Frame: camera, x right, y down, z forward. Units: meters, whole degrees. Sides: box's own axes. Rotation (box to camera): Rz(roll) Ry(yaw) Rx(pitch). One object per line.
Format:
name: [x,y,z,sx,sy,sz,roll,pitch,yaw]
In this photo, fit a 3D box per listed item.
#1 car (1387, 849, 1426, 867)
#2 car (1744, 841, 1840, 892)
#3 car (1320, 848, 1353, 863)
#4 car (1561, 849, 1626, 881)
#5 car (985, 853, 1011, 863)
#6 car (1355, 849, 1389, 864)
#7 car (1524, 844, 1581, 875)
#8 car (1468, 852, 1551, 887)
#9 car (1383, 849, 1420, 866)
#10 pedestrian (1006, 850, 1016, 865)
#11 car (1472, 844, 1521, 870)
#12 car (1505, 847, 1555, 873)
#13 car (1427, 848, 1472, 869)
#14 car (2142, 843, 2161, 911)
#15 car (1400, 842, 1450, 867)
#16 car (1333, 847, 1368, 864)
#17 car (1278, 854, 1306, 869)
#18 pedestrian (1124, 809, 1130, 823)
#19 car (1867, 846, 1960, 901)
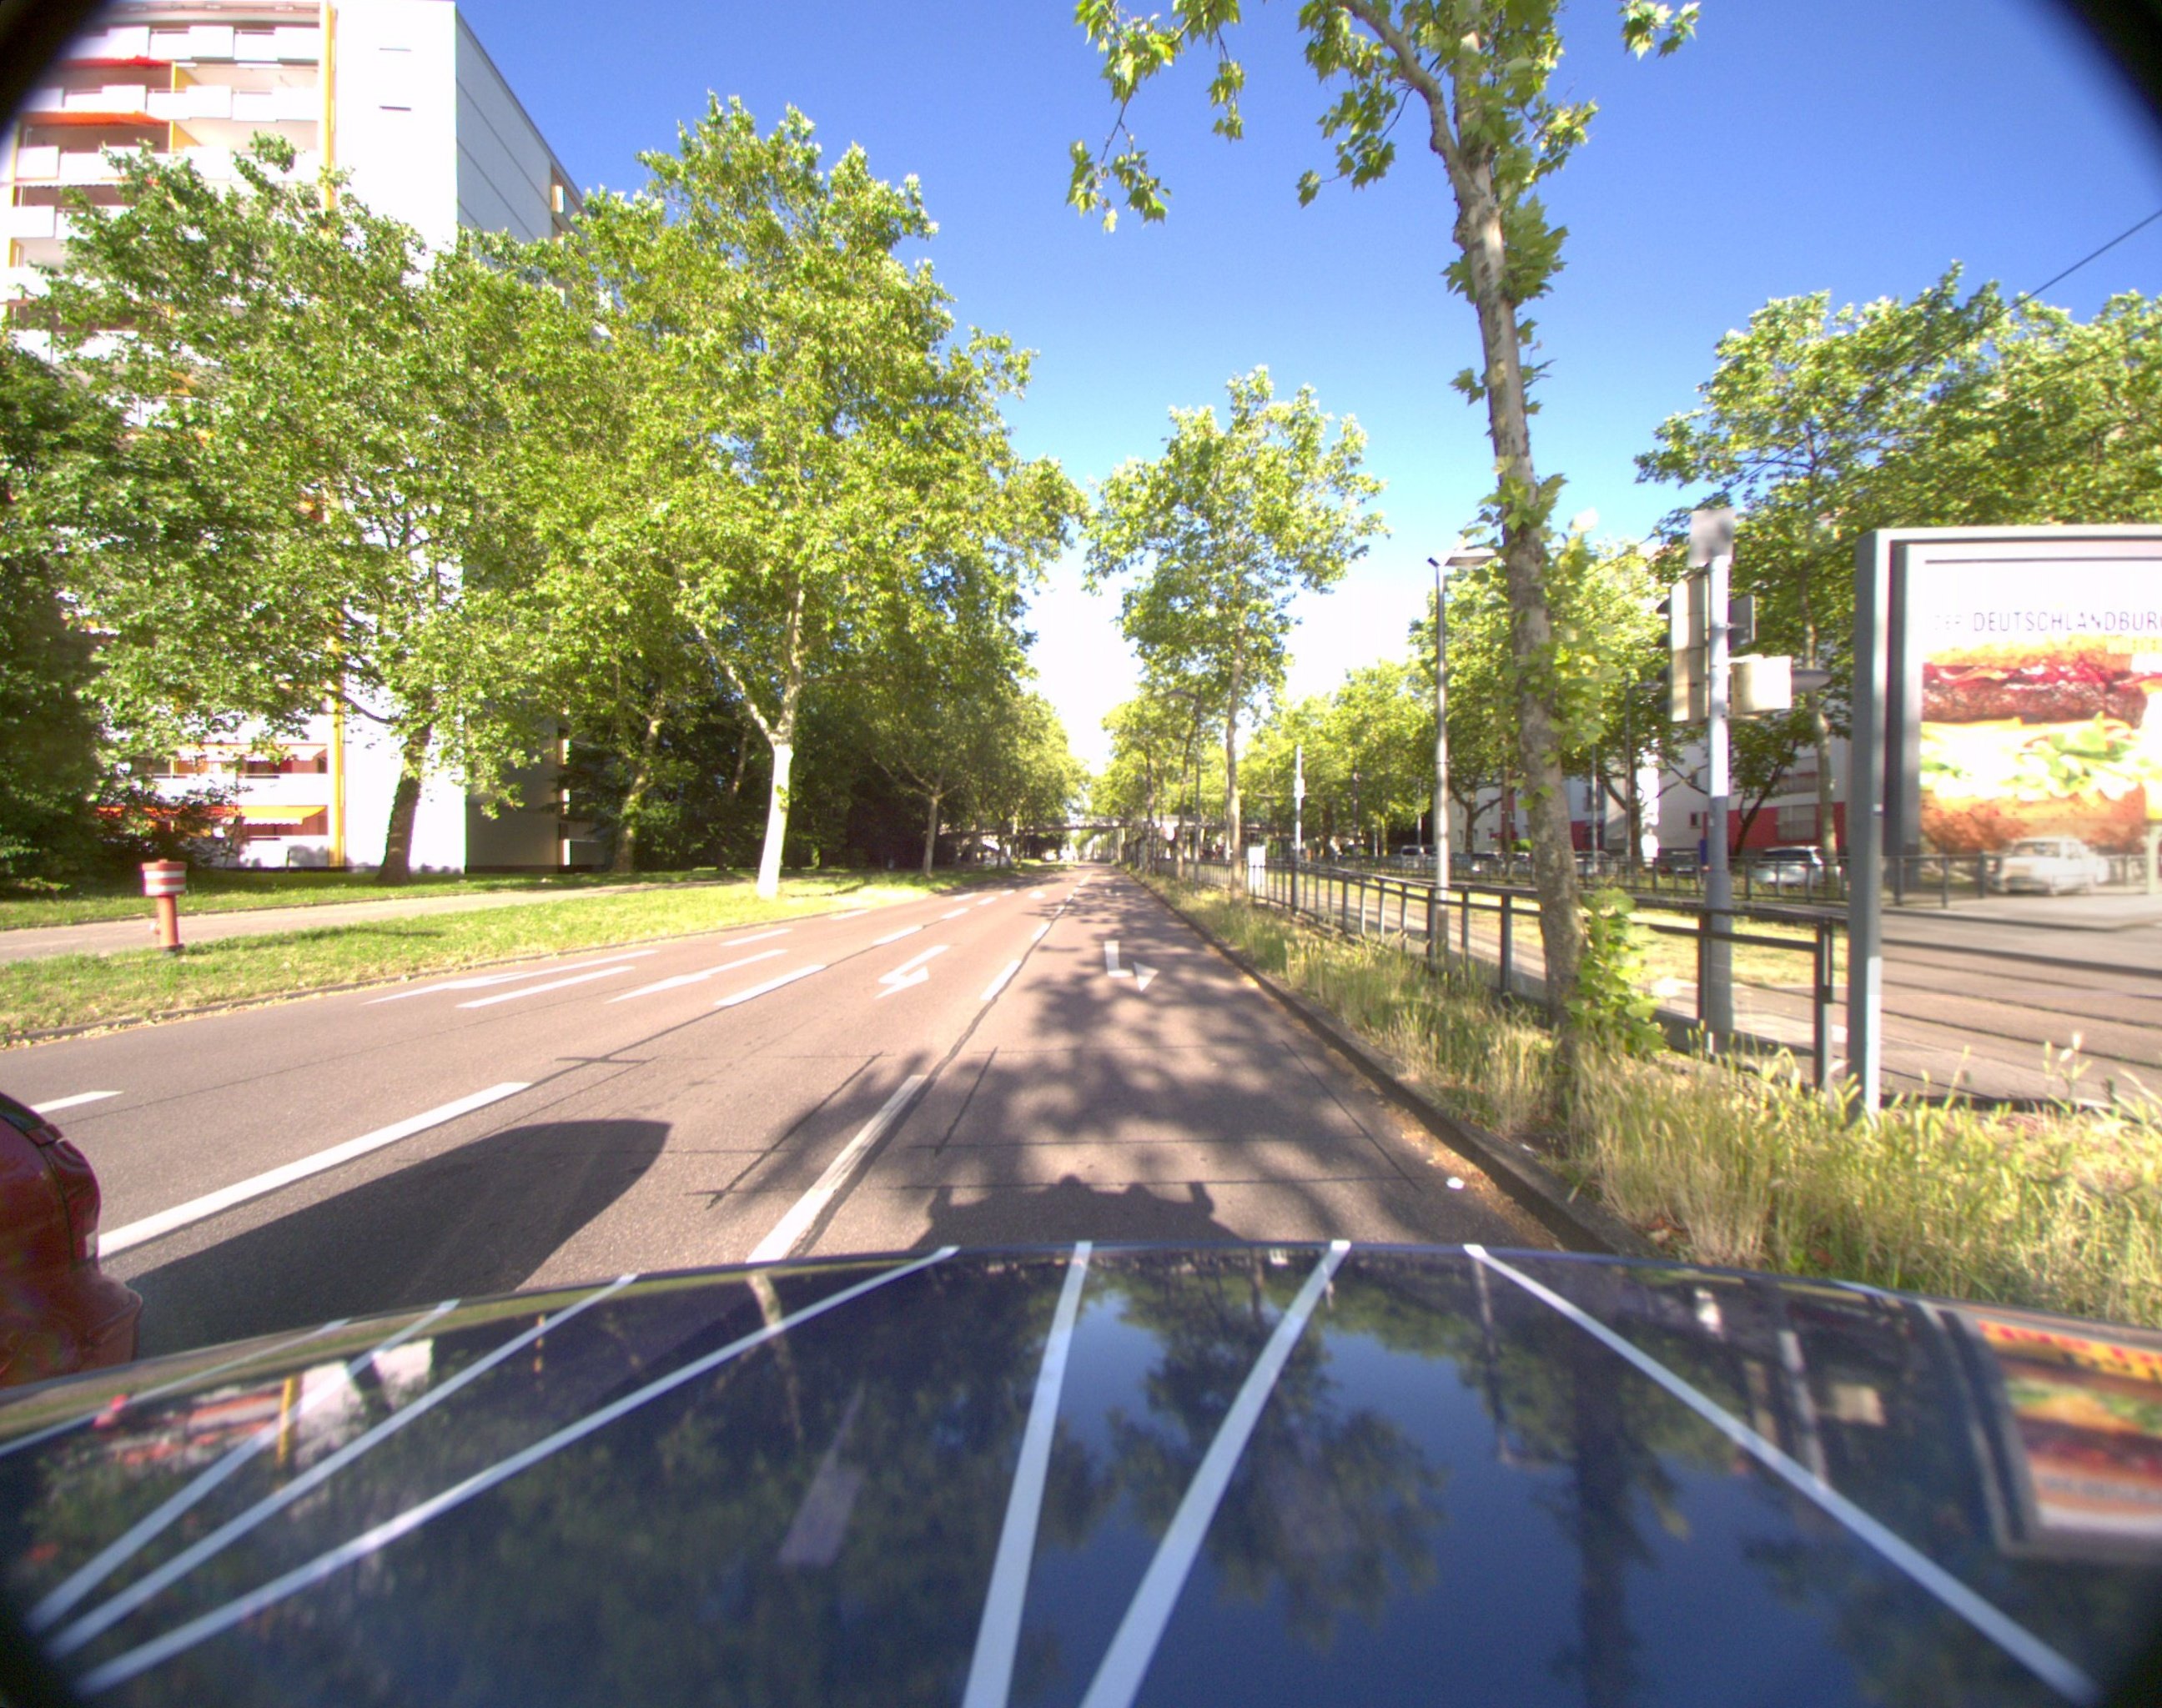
car: [25.869,0.282,60.349,3.494,1.336,1.476,-1,1,-41]
car: [25.226,0.405,26.933,4.007,1.586,1.810,-3,1,-37]
car: [26.735,0.124,79.488,3.742,1.517,1.597,-1,1,-43]
car: [25.522,0.521,37.772,3.890,1.406,1.486,-3,1,-37]
car: [-13.346,0.663,121.553,3.999,1.465,1.797,-3,1,-8]
car: [26.681,0.261,69.677,3.494,1.312,1.476,-1,1,-41]
car: [25.714,0.299,41.395,3.402,1.499,1.461,-3,1,-37]
car: [20.385,0.704,36.337,1.810,1.514,4.331,-1,0,4]
car: [27.017,0.281,64.072,3.494,1.293,1.476,-1,1,-41]
pedestrian: [-10.024,0.502,109.399,0.917,2.002,0.964,-2,1,37]
car: [26.134,0.205,47.739,3.493,1.417,1.558,-3,-1,-42]
car: [26.297,0.356,44.463,3.493,1.321,1.476,-3,0,-41]
car: [26.138,0.299,53.892,3.494,1.395,1.623,-1,1,-41]
car: [24.635,0.537,16.265,4.007,1.479,1.689,-3,1,-44]
car: [25.764,0.040,56.876,4.056,1.802,1.864,-1,1,-40]
car: [26.042,0.142,73.298,3.835,1.561,1.597,-1,1,-43]
car: [21.585,0.731,77.785,1.769,1.503,4.102,-1,0,1]
pedestrian: [6.191,-5.057,101.713,0.738,1.873,0.511,-3,1,0]
car: [25.241,0.543,23.005,3.770,1.420,1.555,-3,1,-37]
